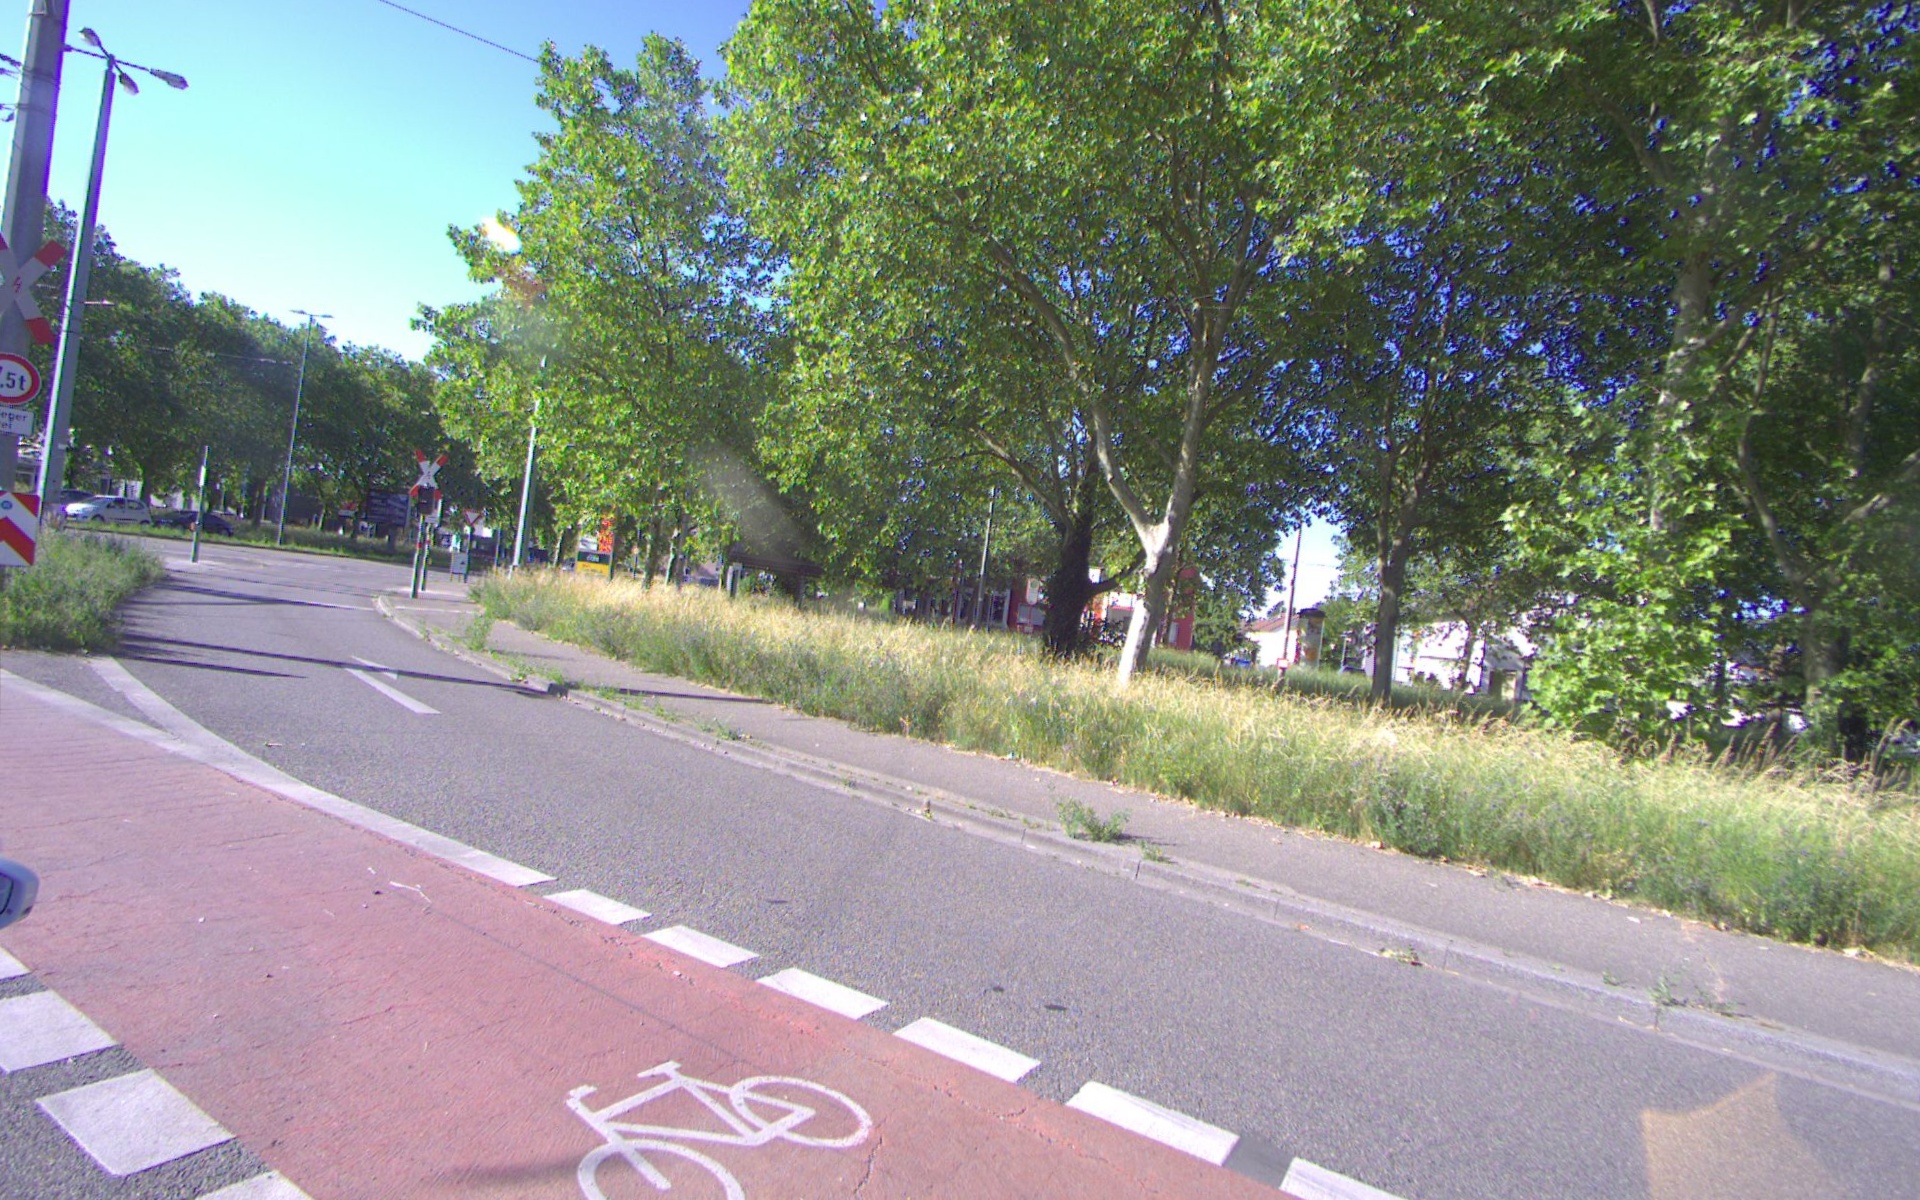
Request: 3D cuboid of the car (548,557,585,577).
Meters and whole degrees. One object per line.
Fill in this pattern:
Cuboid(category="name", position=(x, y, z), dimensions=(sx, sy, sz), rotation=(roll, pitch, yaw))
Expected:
Cuboid(category="car", position=(-38.721, -3.205, 99.048), dimensions=(1.563, 1.519, 4.002), rotation=(7, -1, 6))

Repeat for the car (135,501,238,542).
Cuboid(category="car", position=(-42.851, -4.334, 55.884), dimensions=(1.661, 1.593, 4.528), rotation=(7, -1, 9))

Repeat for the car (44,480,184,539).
Cuboid(category="car", position=(-40.473, -4.284, 48.309), dimensions=(1.962, 2.038, 4.907), rotation=(7, -1, 9))

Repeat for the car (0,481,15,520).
Cuboid(category="car", position=(-41.047, -4.320, 40.585), dimensions=(1.575, 1.549, 4.002), rotation=(7, 0, 9))

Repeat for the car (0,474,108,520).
Cuboid(category="car", position=(-43.994, -4.975, 48.882), dimensions=(1.462, 1.589, 3.758), rotation=(7, -1, 9))
